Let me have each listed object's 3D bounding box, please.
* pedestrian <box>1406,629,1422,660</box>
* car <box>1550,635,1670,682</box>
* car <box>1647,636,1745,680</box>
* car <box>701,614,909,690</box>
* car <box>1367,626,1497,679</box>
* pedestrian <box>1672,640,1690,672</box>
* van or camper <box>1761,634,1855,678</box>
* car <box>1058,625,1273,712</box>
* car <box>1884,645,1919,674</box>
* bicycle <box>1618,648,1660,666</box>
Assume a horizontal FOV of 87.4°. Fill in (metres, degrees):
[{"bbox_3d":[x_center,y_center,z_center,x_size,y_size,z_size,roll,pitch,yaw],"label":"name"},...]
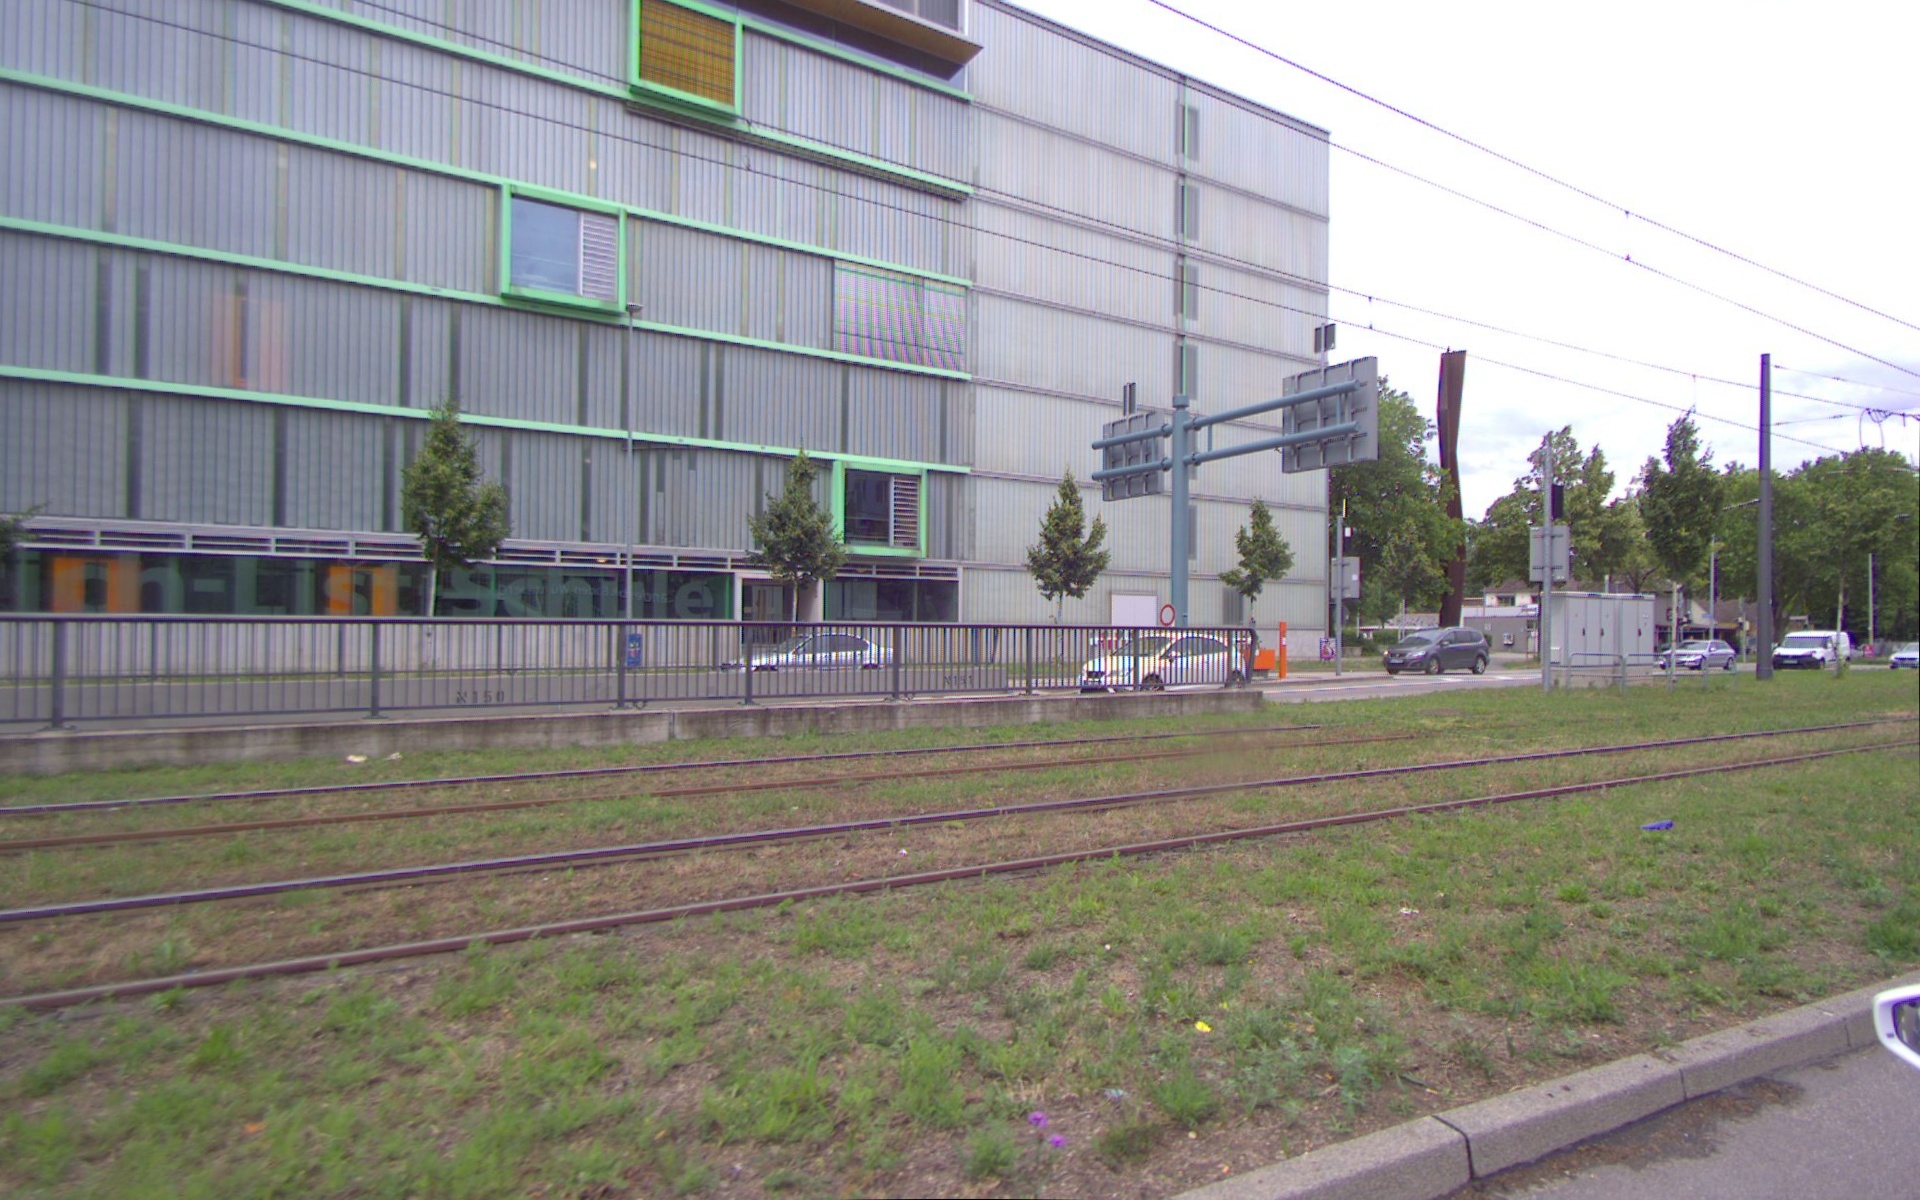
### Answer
[{"bbox_3d":[30.865,3.019,68.303,0.887,2.040,0.954,0,-1,18],"label":"pedestrian"},{"bbox_3d":[22.149,1.960,34.181,4.524,1.499,1.752,2,-2,-33],"label":"car"},{"bbox_3d":[35.875,2.796,48.935,5.233,2.040,1.984,1,-1,-31],"label":"car"},{"bbox_3d":[-3.715,1.223,24.359,4.593,1.688,1.984,1,-1,-31],"label":"car"},{"bbox_3d":[17.583,1.927,37.333,4.910,1.848,1.984,2,-1,-31],"label":"car"},{"bbox_3d":[42.438,3.281,59.139,0.769,1.856,0.771,0,-1,43],"label":"pedestrian"},{"bbox_3d":[38.929,2.524,46.082,5.069,1.925,1.879,2,-3,-33],"label":"van or camper"},{"bbox_3d":[4.339,1.350,20.972,4.336,1.607,1.980,1,-1,-35],"label":"car"},{"bbox_3d":[51.077,3.133,53.521,4.873,1.464,1.717,1,-3,-35],"label":"car"},{"bbox_3d":[48.658,4.091,72.016,2.474,1.218,0.738,0,-1,34],"label":"bicycle"}]
